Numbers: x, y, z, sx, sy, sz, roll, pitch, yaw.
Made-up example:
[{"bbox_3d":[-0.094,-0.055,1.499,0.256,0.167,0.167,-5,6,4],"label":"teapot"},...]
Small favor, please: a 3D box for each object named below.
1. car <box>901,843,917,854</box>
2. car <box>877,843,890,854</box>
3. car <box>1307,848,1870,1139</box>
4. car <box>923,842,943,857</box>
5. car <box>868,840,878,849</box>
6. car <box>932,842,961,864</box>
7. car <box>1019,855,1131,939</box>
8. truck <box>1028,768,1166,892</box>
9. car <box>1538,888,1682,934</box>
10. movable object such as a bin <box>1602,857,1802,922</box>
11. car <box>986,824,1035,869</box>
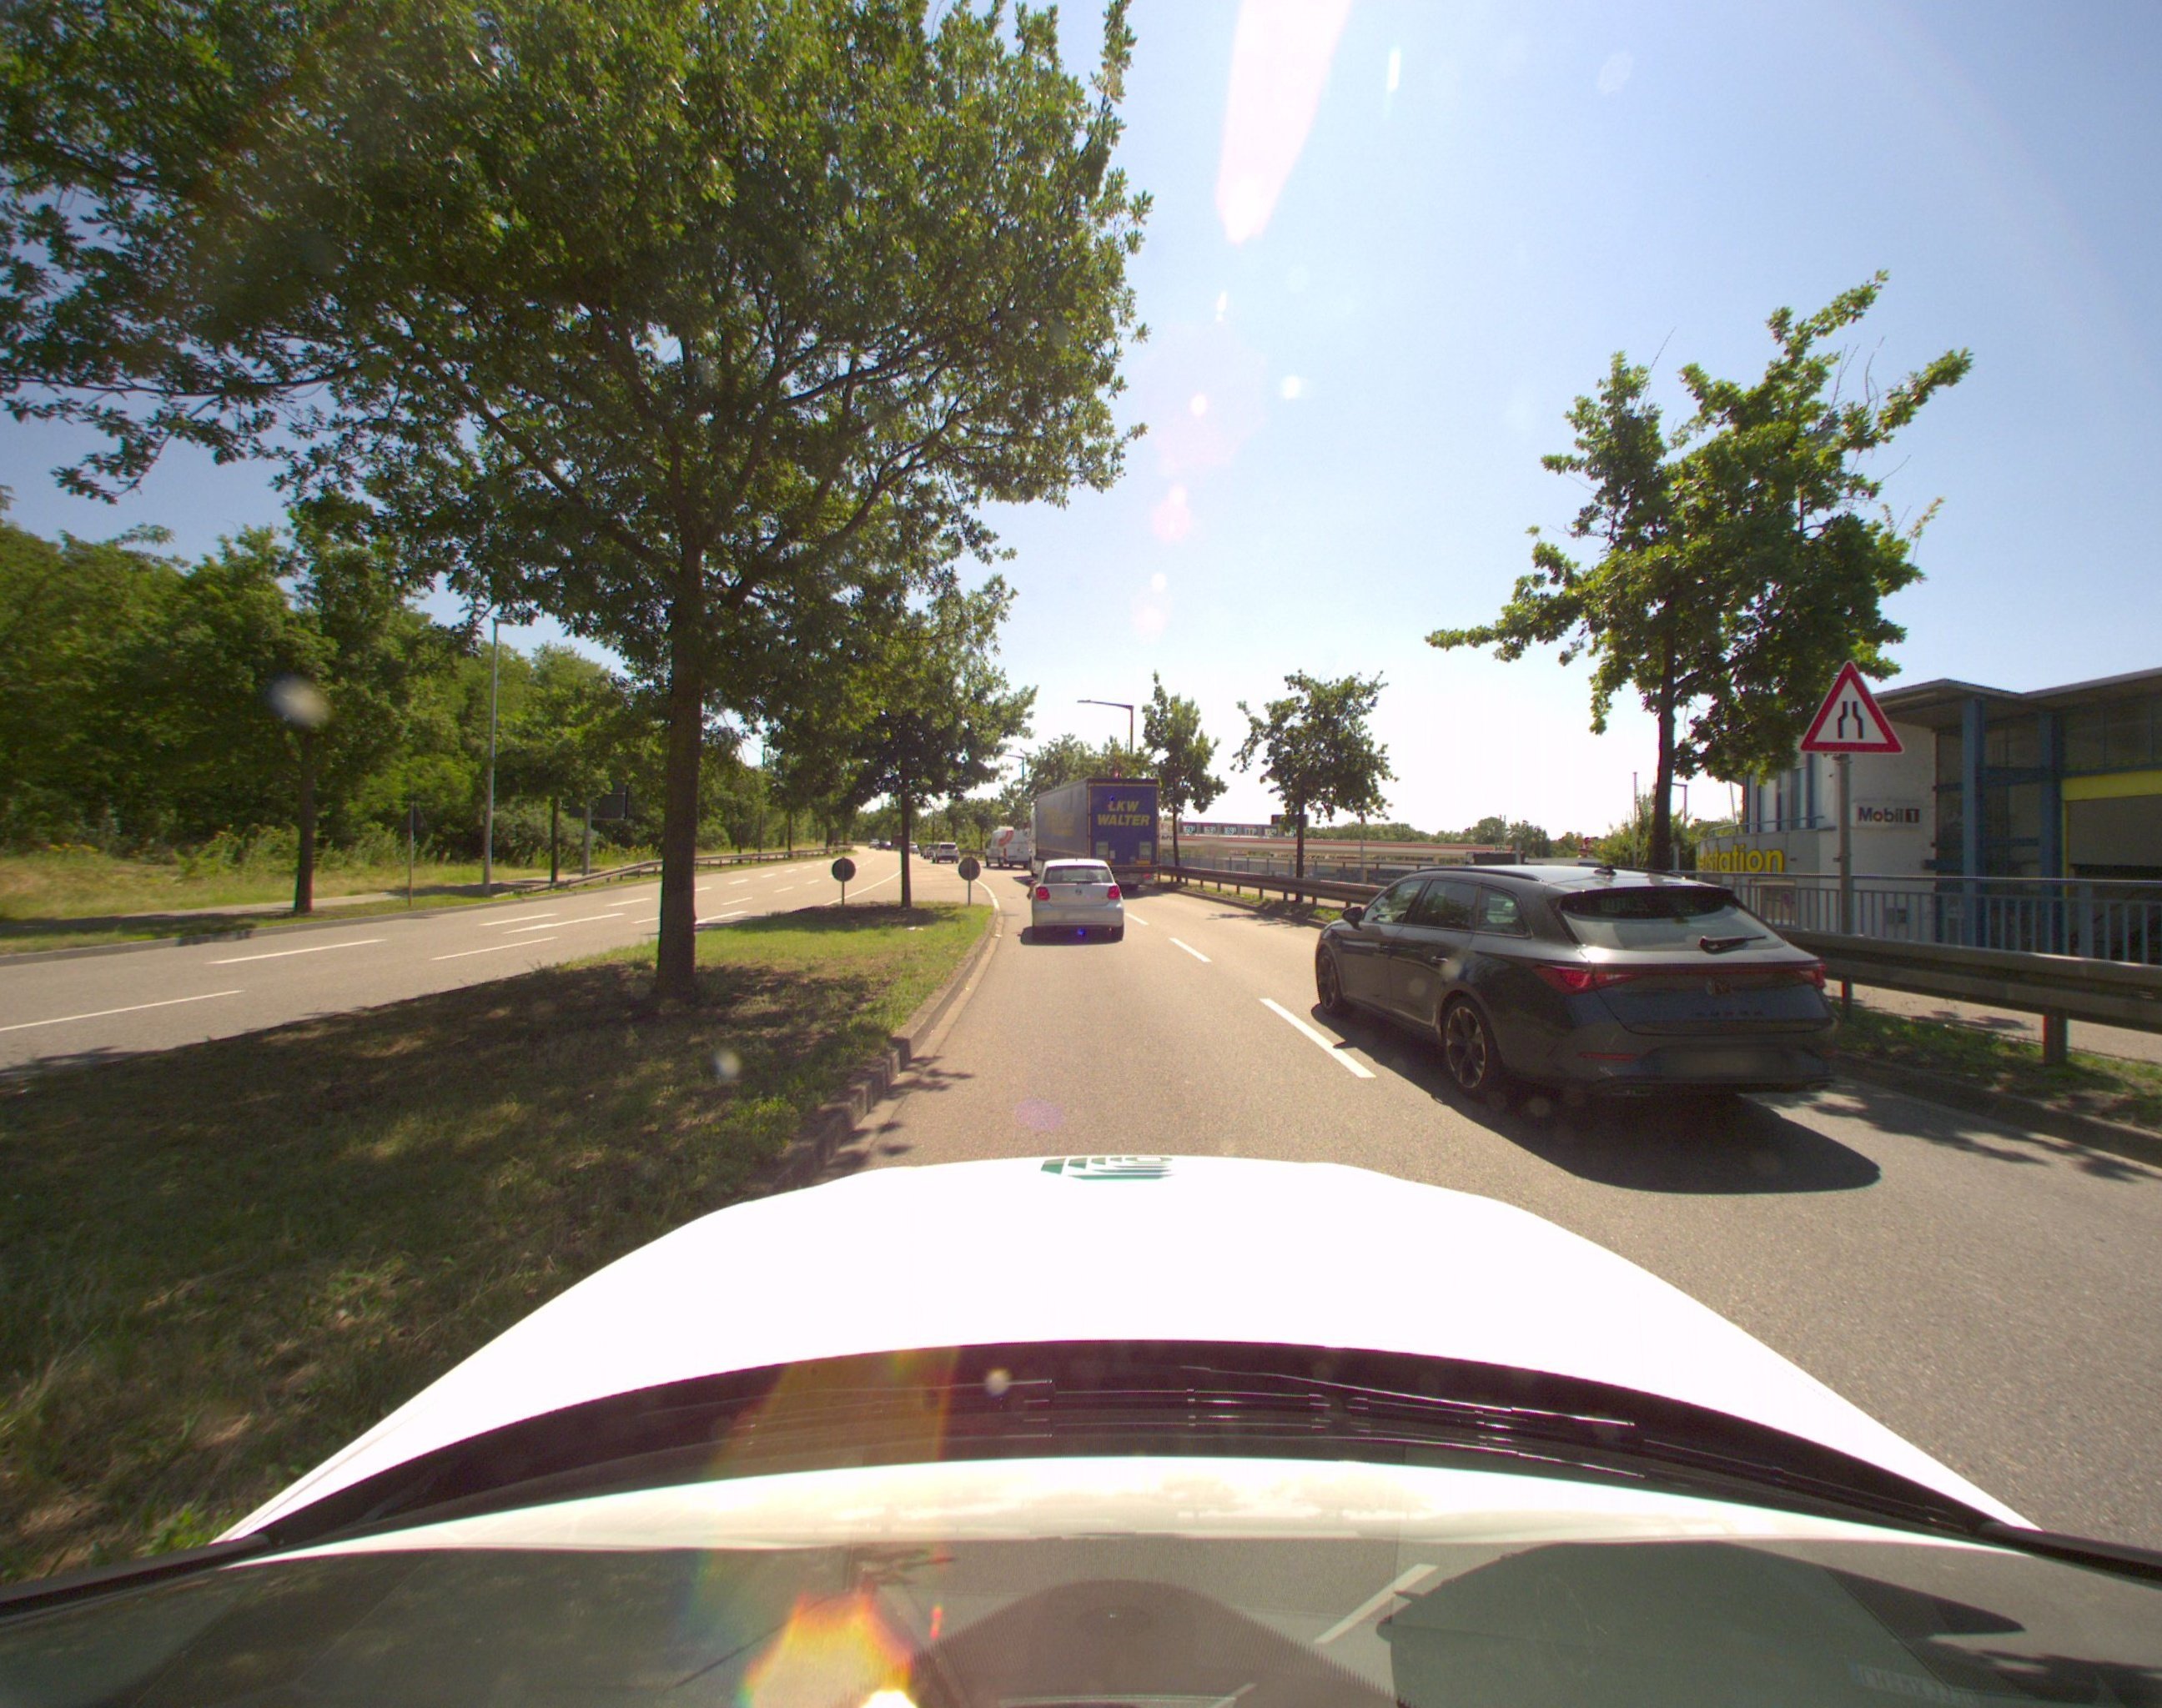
[{"bbox_3d":[-21.114,-0.650,100.066,1.612,1.360,3.641,1,0,-17],"label":"car"},{"bbox_3d":[-28.962,-0.783,119.474,1.667,1.465,3.565,1,-1,-13],"label":"car"},{"bbox_3d":[3.153,0.741,6.228,1.600,1.456,4.232,0,-1,-2],"label":"car"},{"bbox_3d":[-14.215,-0.393,78.202,1.498,1.360,3.642,1,0,-17],"label":"car"},{"bbox_3d":[-34.272,-1.533,134.046,1.458,1.314,3.621,1,-1,-13],"label":"car"},{"bbox_3d":[-11.020,-0.053,66.507,1.907,1.718,4.201,1,-1,-15],"label":"car"},{"bbox_3d":[-0.226,0.774,15.796,1.646,1.439,3.525,1,-1,-9],"label":"car"},{"bbox_3d":[0.034,-0.773,36.028,2.834,4.198,16.413,1,0,-11],"label":"truck"},{"bbox_3d":[20.306,2.168,31.363,4.583,1.660,1.595,0,-1,-3],"label":"car"},{"bbox_3d":[37.468,2.130,49.213,11.045,3.707,3.026,1,-1,-11],"label":"movable object such as a bin"},{"bbox_3d":[-4.993,-0.536,56.795,2.181,2.900,6.323,1,1,-17],"label":"car"}]
